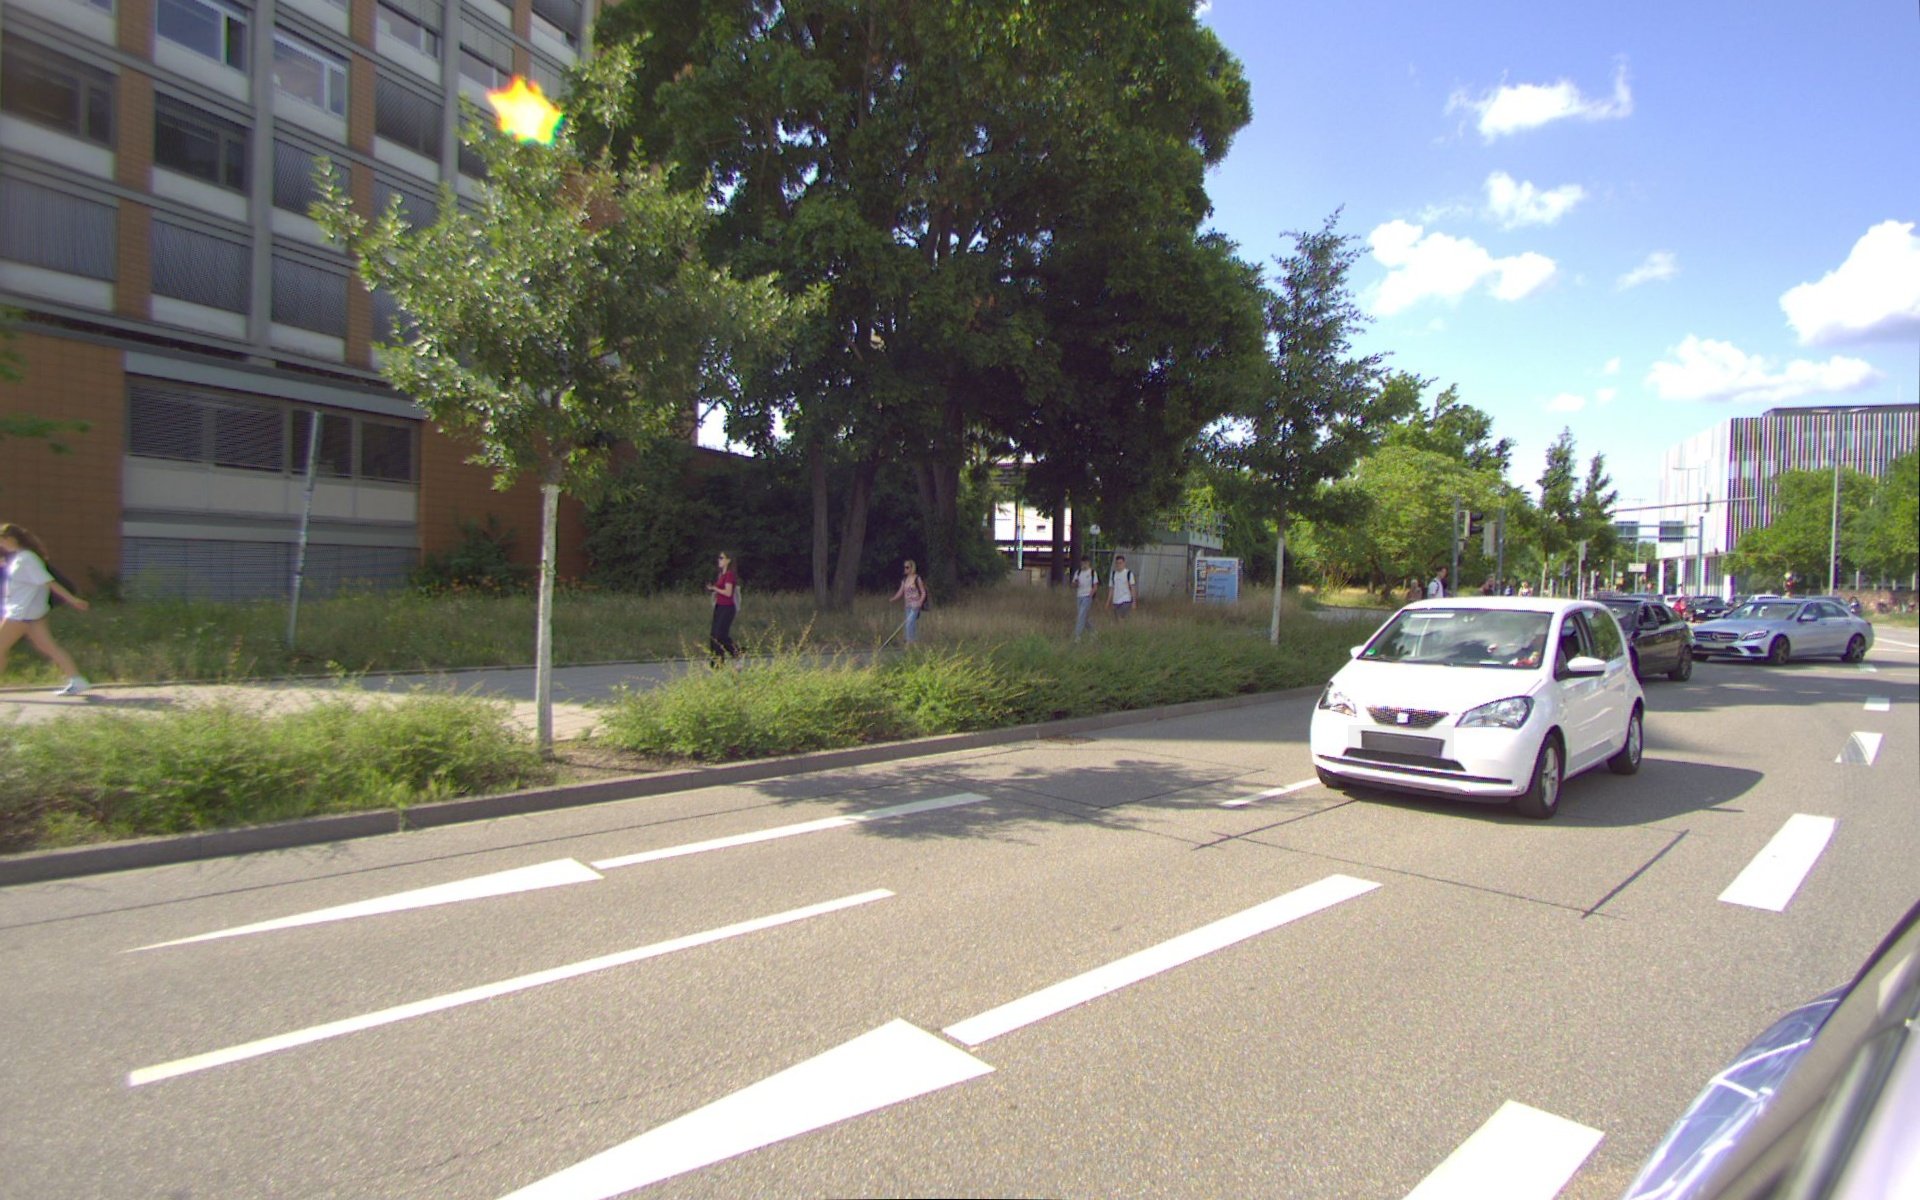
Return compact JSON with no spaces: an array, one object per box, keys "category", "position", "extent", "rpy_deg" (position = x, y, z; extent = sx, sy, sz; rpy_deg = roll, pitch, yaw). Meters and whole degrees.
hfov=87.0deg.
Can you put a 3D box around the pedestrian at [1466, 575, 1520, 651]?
[{"category":"pedestrian","position":[12.638,0.295,23.996],"extent":[0.755,1.757,0.926],"rpy_deg":[0,0,-43]}]

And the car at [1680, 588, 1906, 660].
[{"category":"car","position":[18.817,0.490,22.864],"extent":[4.659,1.473,1.941],"rpy_deg":[0,1,-22]}]

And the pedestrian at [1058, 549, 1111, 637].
[{"category":"pedestrian","position":[2.533,-0.152,20.576],"extent":[0.614,1.720,0.876],"rpy_deg":[5,4,44]}]

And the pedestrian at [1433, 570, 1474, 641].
[{"category":"pedestrian","position":[12.576,0.130,25.785],"extent":[0.765,1.757,0.708],"rpy_deg":[0,0,41]}]

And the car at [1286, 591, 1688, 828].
[{"category":"car","position":[4.456,0.674,8.287],"extent":[3.932,1.439,1.652],"rpy_deg":[0,2,-43]}]

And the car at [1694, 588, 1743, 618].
[{"category":"car","position":[39.824,0.142,53.197],"extent":[1.814,1.481,3.952],"rpy_deg":[1,1,34]}]

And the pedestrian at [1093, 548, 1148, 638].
[{"category":"pedestrian","position":[3.194,-0.156,20.126],"extent":[0.614,1.720,0.876],"rpy_deg":[5,4,44]}]

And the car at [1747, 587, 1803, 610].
[{"category":"car","position":[50.573,-0.110,62.857],"extent":[1.761,1.371,3.966],"rpy_deg":[0,1,25]}]

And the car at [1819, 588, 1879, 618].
[{"category":"car","position":[43.795,0.117,49.931],"extent":[1.990,1.393,4.210],"rpy_deg":[1,1,39]}]

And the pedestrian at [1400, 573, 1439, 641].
[{"category":"pedestrian","position":[12.101,0.175,26.664],"extent":[0.765,1.757,0.708],"rpy_deg":[0,0,41]}]

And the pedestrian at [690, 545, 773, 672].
[{"category":"pedestrian","position":[-3.102,0.097,13.737],"extent":[0.874,1.642,0.615],"rpy_deg":[0,4,-41]}]

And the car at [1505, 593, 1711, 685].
[{"category":"car","position":[11.167,0.581,17.354],"extent":[4.057,1.389,1.703],"rpy_deg":[0,1,-38]}]

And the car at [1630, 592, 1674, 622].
[{"category":"car","position":[36.813,0.336,53.819],"extent":[1.816,1.481,3.948],"rpy_deg":[1,1,36]}]

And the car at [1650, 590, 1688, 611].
[{"category":"car","position":[44.725,-0.016,63.837],"extent":[1.898,1.148,4.052],"rpy_deg":[1,3,35]}]

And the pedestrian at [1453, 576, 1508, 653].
[{"category":"pedestrian","position":[12.077,0.322,23.477],"extent":[0.755,1.757,0.926],"rpy_deg":[0,0,-43]}]

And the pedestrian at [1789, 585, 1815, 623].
[{"category":"pedestrian","position":[39.445,0.177,47.399],"extent":[0.731,1.736,0.868],"rpy_deg":[0,0,27]}]

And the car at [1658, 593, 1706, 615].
[{"category":"car","position":[41.415,0.194,58.111],"extent":[1.582,1.148,3.597],"rpy_deg":[1,1,25]}]

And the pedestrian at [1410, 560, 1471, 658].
[{"category":"pedestrian","position":[10.283,0.190,21.669],"extent":[0.755,2.039,0.963],"rpy_deg":[0,0,-43]}]

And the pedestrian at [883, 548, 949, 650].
[{"category":"pedestrian","position":[-0.739,-0.029,17.037],"extent":[0.614,1.642,0.876],"rpy_deg":[5,4,44]}]

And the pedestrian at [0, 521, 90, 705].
[{"category":"pedestrian","position":[-8.733,0.101,9.317],"extent":[1.078,1.642,0.615],"rpy_deg":[-1,4,-42]}]

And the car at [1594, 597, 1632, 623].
[{"category":"car","position":[39.210,0.567,60.726],"extent":[1.815,1.481,3.950],"rpy_deg":[1,1,35]}]
